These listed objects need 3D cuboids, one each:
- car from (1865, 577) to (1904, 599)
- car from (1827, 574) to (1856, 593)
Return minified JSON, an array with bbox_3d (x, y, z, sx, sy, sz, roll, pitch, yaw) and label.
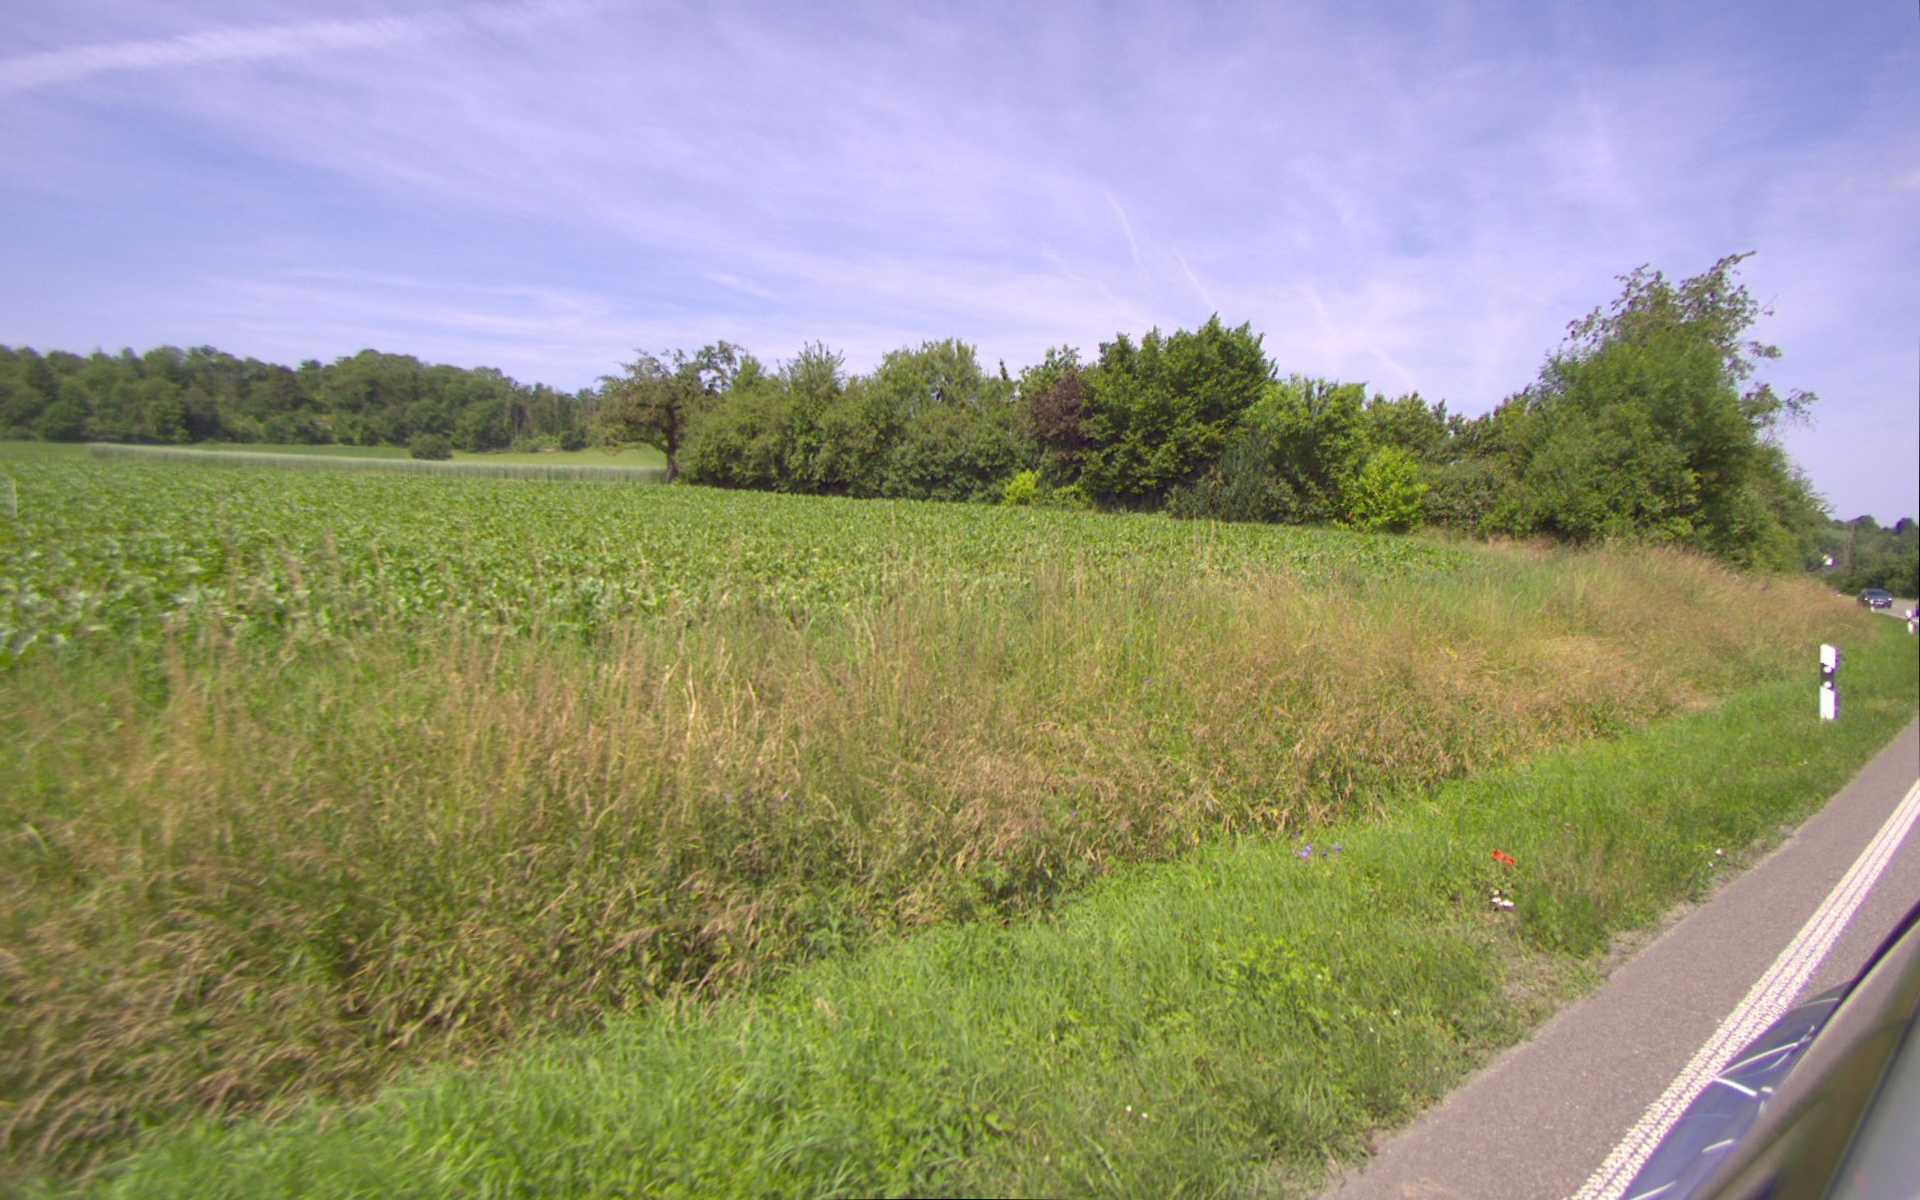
[{"bbox_3d":[74.982,-0.976,82.149,1.817,1.537,3.948,7,5,36],"label":"car"},{"bbox_3d":[87.130,-1.680,100.059,1.658,1.669,3.949,6,5,36],"label":"car"}]
